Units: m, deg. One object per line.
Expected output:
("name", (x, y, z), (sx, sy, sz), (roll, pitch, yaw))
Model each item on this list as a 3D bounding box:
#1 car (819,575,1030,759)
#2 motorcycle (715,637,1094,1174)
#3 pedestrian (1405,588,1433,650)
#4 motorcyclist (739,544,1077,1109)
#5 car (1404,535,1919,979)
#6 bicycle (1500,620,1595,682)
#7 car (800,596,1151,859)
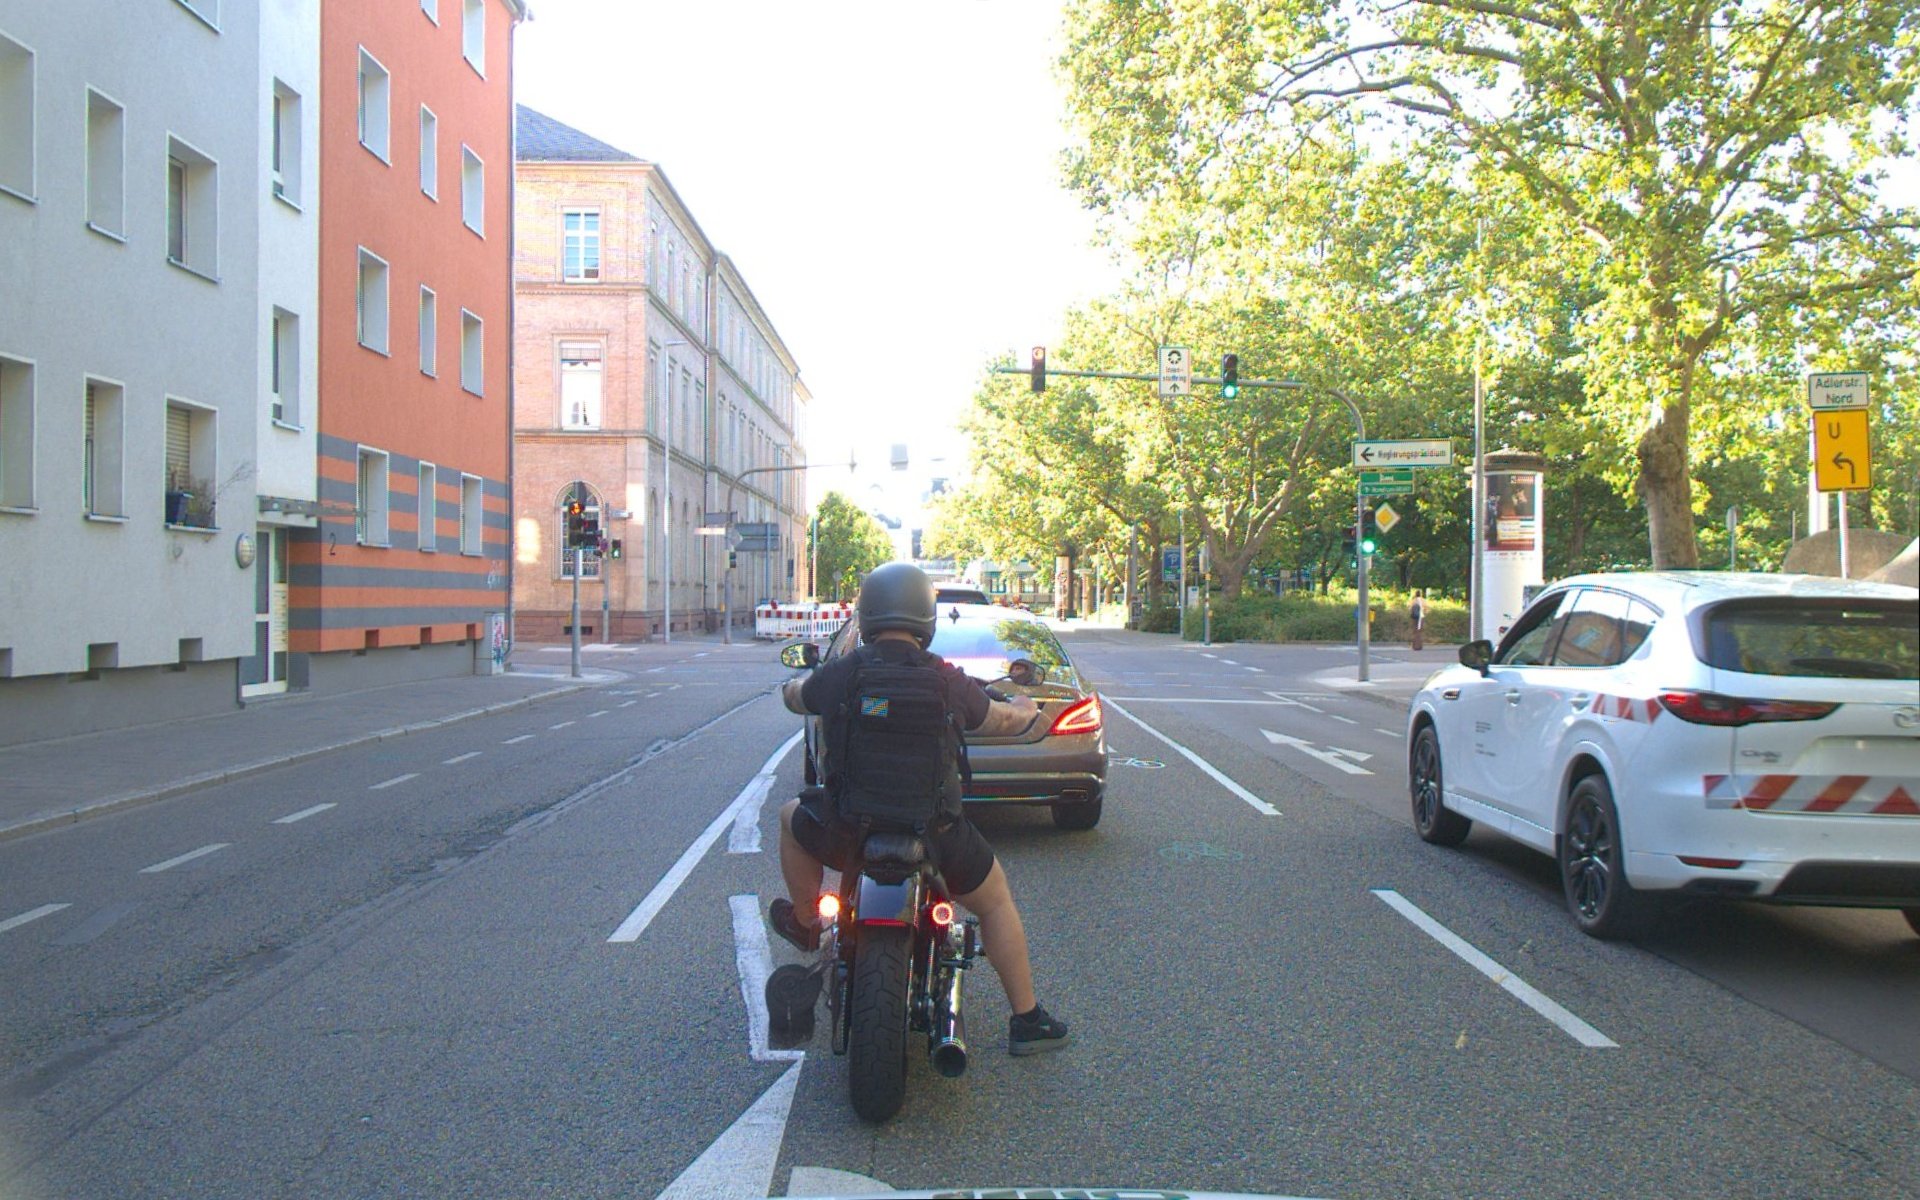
("car", (-0.358, 0.635, 17.540), (1.953, 1.695, 3.999), (1, 0, -1))
("motorcycle", (-0.157, 0.802, 5.406), (0.961, 1.297, 2.407), (0, 0, -1))
("pedestrian", (13.379, 0.549, 48.197), (0.664, 1.803, 0.616), (1, -1, 29))
("motorcyclist", (-0.156, 0.643, 5.338), (0.961, 1.606, 1.248), (0, 0, -1))
("car", (3.902, 0.621, 8.794), (1.903, 1.738, 4.484), (2, 0, 1))
("bicycle", (9.792, 0.840, 27.597), (1.452, 0.997, 0.299), (1, -1, 5))
("car", (-0.110, 0.711, 11.621), (1.834, 1.469, 4.422), (0, 0, -8))
